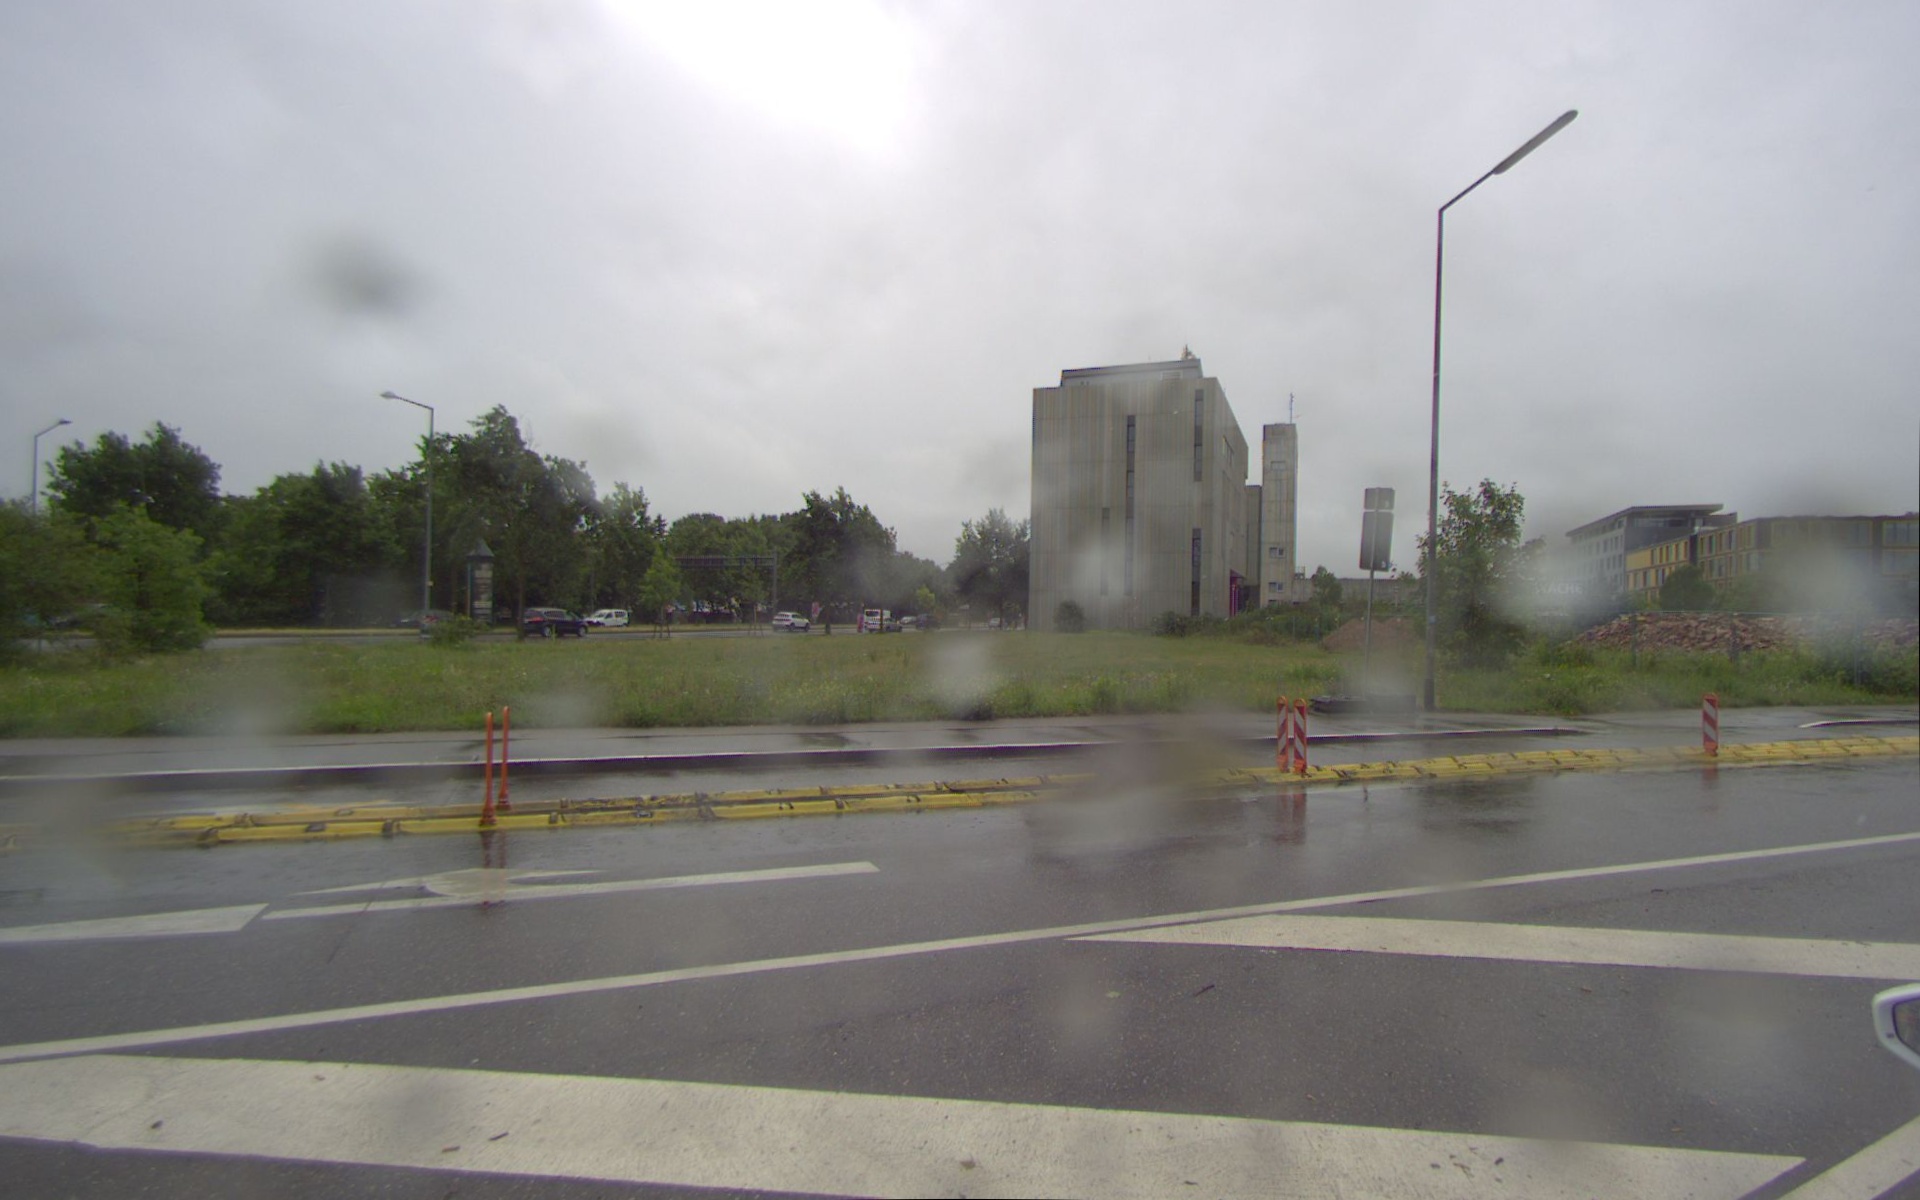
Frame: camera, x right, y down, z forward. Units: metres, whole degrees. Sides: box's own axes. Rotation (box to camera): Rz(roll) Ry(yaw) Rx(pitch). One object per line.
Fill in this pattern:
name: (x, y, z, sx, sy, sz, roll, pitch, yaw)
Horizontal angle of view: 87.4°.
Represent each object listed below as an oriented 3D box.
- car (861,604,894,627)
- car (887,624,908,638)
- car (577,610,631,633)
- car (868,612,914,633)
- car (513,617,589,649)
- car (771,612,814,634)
car: (-8.038, 1.522, 98.346, 1.753, 2.062, 4.002, 3, -2, 17)
car: (-8.291, 4.069, 132.918, 1.753, 1.703, 4.003, 3, -2, 11)
car: (-29.541, 1.792, 83.500, 1.754, 1.669, 4.343, 3, -2, 20)
car: (-6.145, 2.025, 90.237, 1.756, 1.834, 4.831, 1, -1, 28)
car: (-23.945, 1.946, 58.908, 1.754, 1.669, 4.000, 3, -2, 22)
car: (-14.226, 1.938, 85.476, 1.654, 1.669, 3.946, 3, -2, 23)
